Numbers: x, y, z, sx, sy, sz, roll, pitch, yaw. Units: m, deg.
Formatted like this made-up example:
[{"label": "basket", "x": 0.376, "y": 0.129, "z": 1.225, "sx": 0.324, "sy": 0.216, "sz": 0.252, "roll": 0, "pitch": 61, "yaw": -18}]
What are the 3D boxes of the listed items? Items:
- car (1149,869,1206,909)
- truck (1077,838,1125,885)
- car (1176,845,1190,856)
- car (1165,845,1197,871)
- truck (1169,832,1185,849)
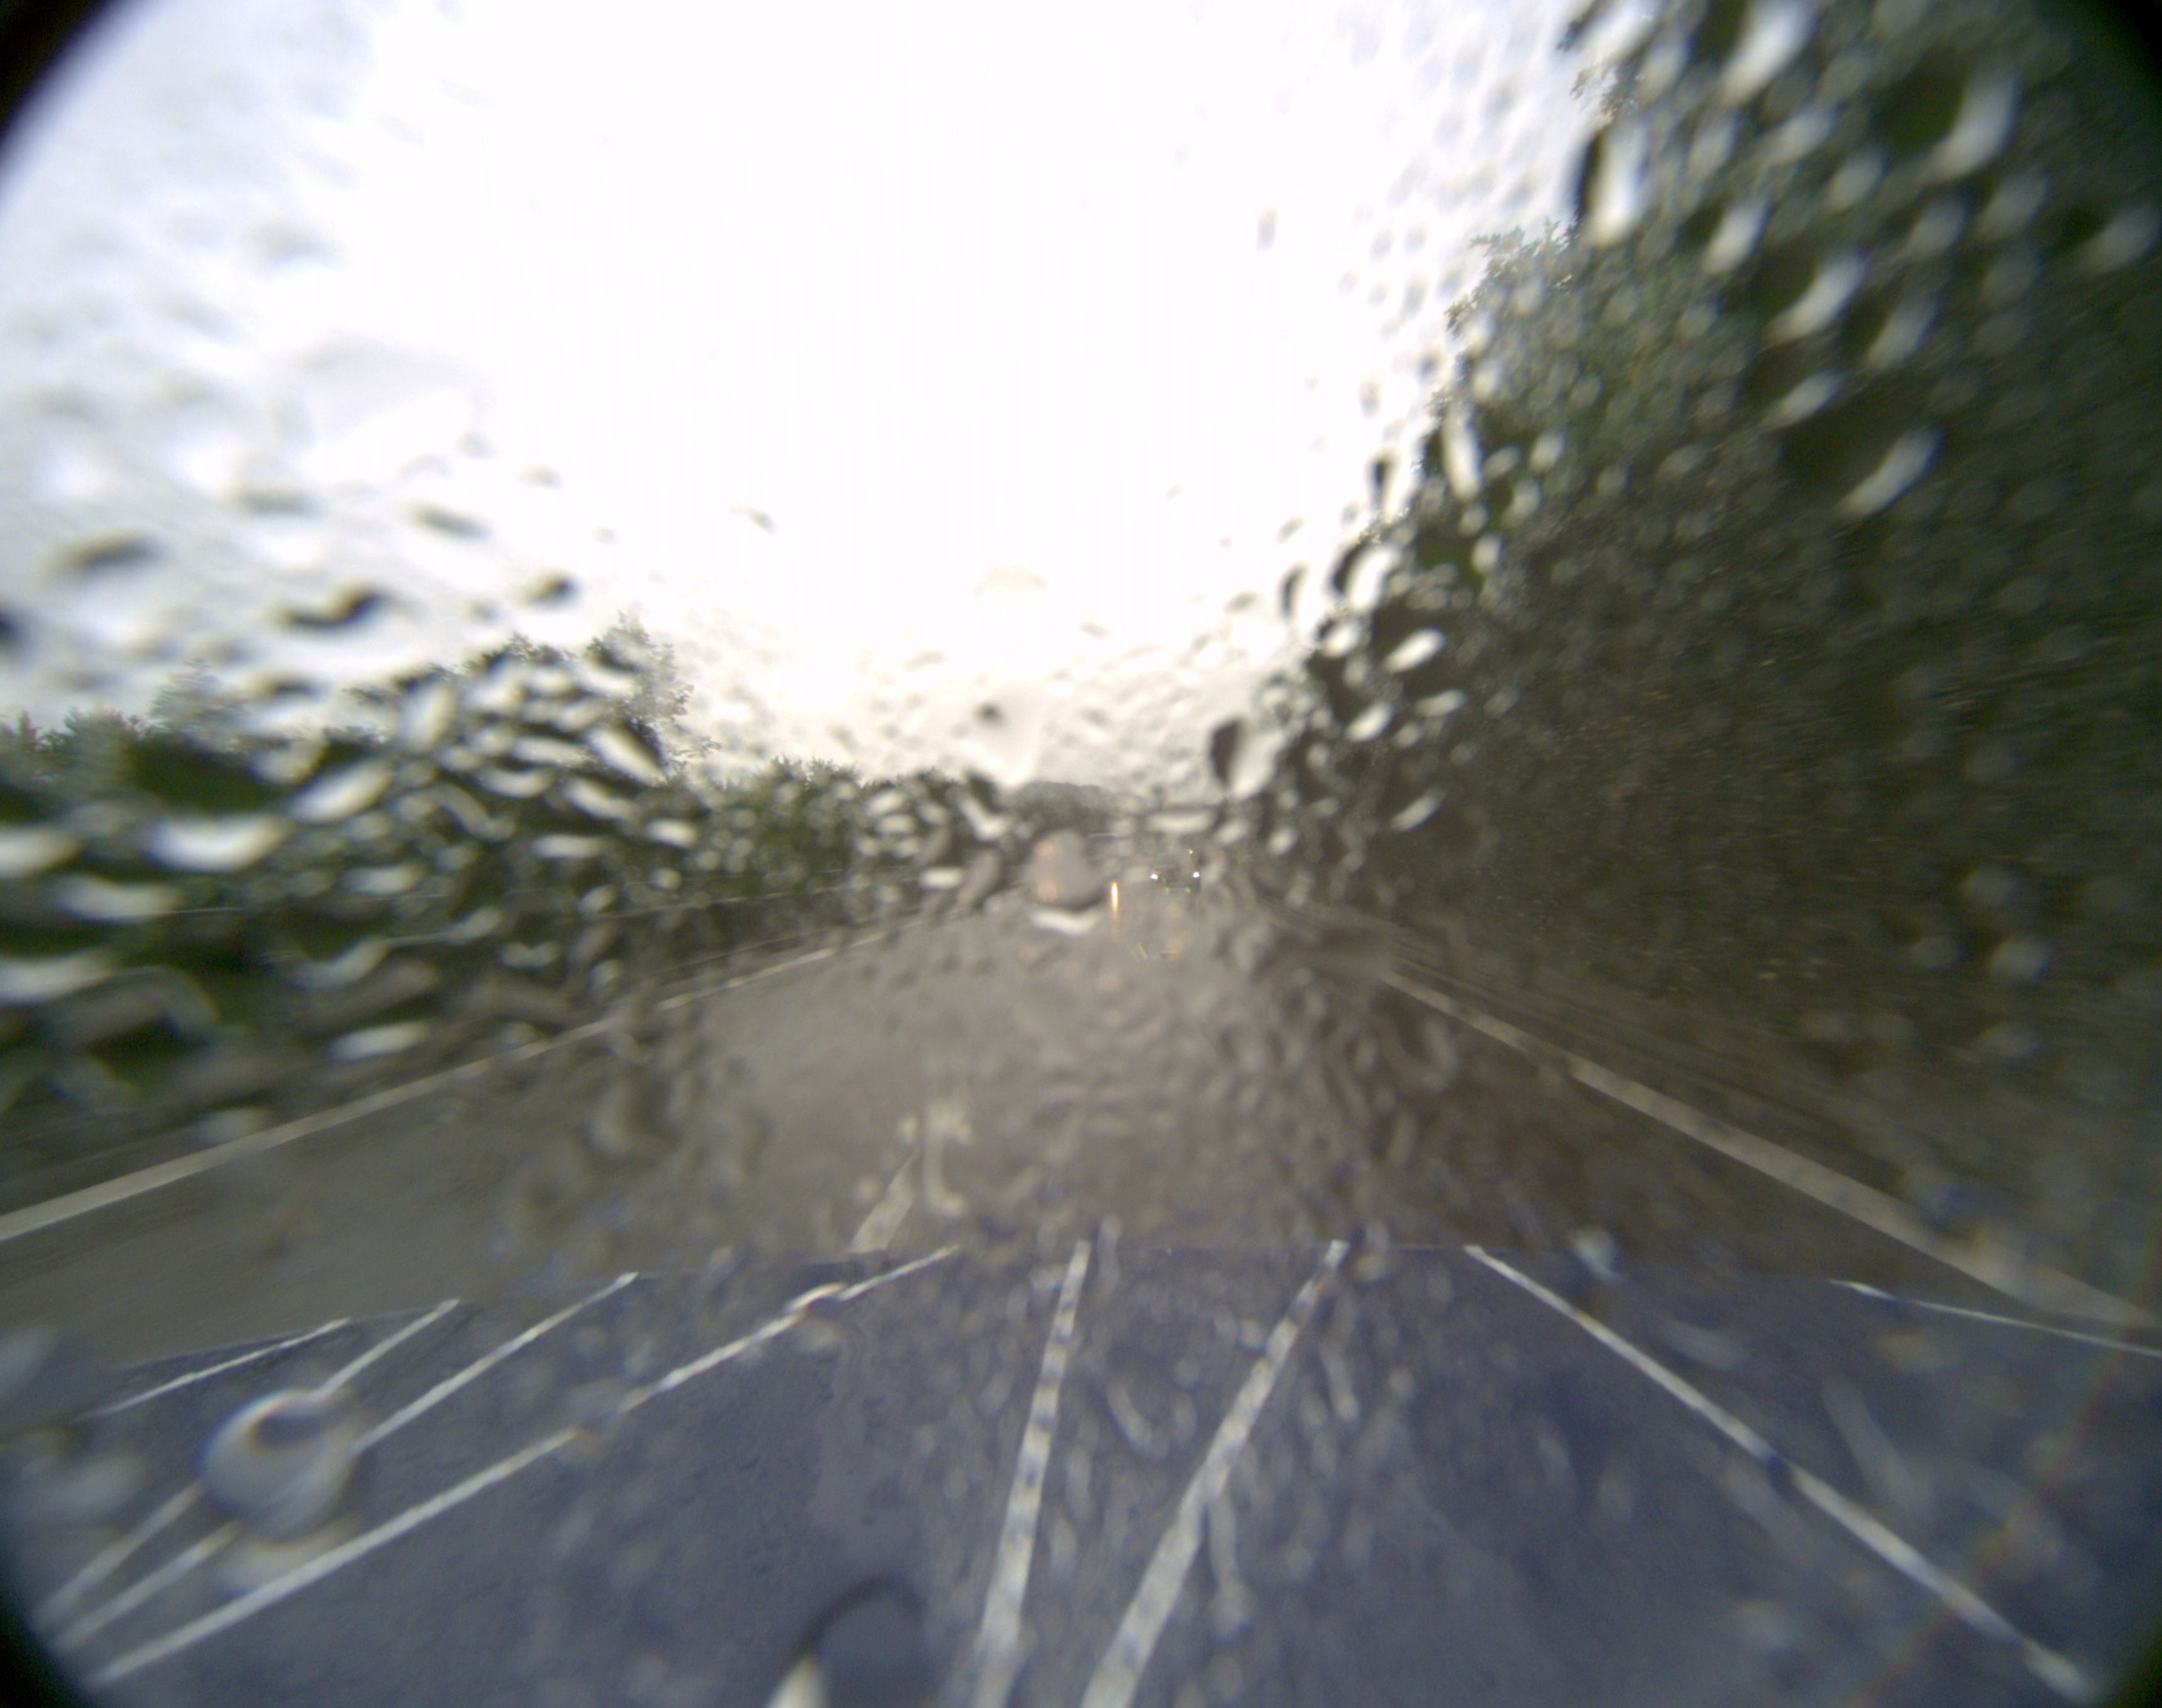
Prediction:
[{"label": "car", "x": 3.551, "y": 1.256, "z": 28.480, "sx": 1.827, "sy": 1.375, "sz": 4.001, "roll": -1, "pitch": -1, "yaw": 3}, {"label": "truck", "x": 1.308, "y": 0.370, "z": 45.000, "sx": 2.107, "sy": 2.481, "sz": 8.005, "roll": -1, "pitch": 0, "yaw": 6}, {"label": "car", "x": 14.595, "y": -0.465, "z": 108.377, "sx": 1.826, "sy": 1.375, "sz": 4.002, "roll": -4, "pitch": 0, "yaw": 9}, {"label": "car", "x": 6.172, "y": 0.215, "z": 47.079, "sx": 1.826, "sy": 1.375, "sz": 4.001, "roll": -4, "pitch": 0, "yaw": 7}, {"label": "truck", "x": 24.672, "y": -3.520, "z": 194.904, "sx": 2.807, "sy": 4.280, "sz": 6.473, "roll": -1, "pitch": 1, "yaw": 20}]
